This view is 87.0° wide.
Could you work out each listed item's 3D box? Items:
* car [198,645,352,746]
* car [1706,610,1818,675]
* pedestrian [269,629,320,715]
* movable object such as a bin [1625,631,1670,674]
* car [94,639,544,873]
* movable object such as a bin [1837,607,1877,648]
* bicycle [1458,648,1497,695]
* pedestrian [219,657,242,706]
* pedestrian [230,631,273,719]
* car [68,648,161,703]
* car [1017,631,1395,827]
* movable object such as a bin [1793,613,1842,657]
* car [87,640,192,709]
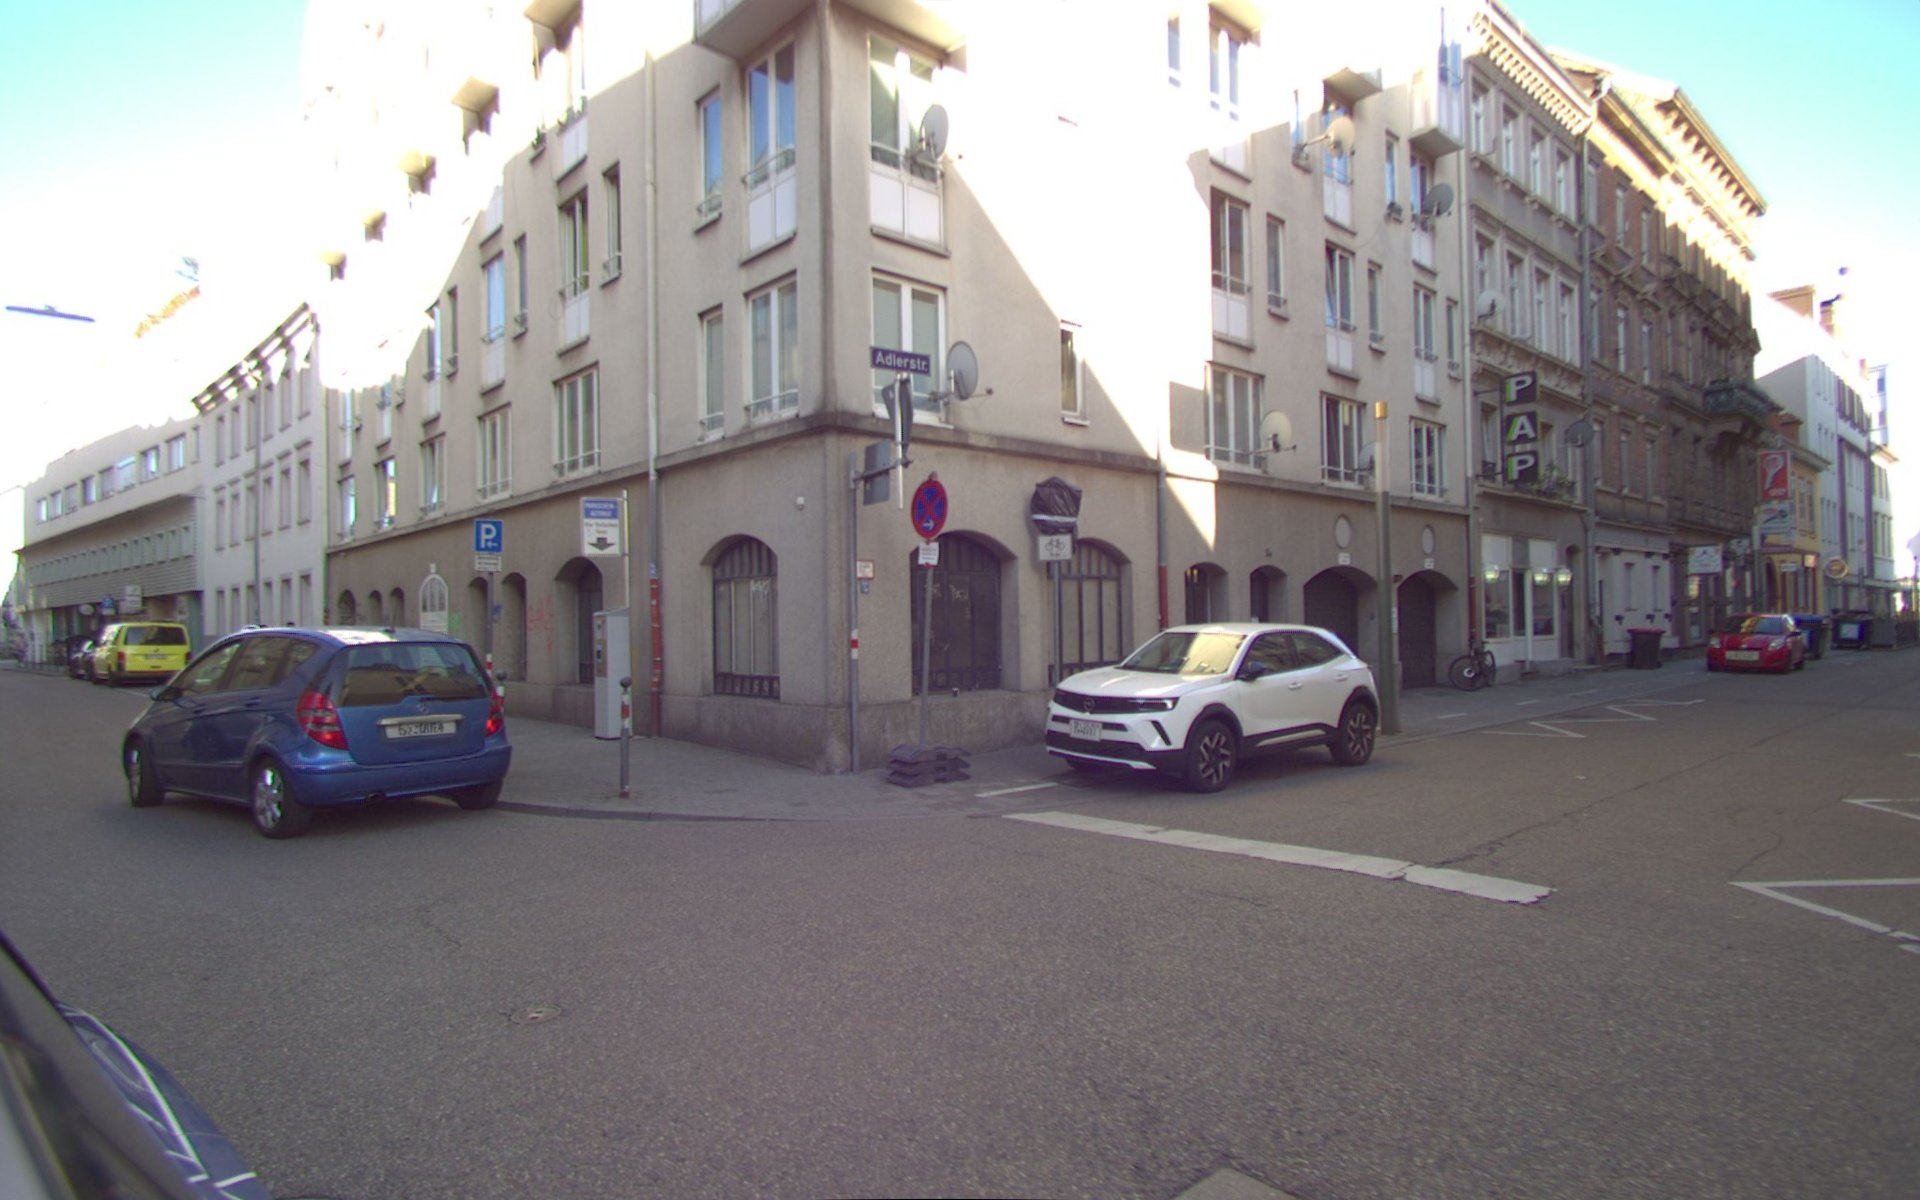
[{"bbox_3d":[-13.299,1.756,19.570,1.861,1.717,4.004,2,-4,-43],"label":"car"},{"bbox_3d":[20.929,1.054,26.373,3.941,1.537,1.795,0,-1,-45],"label":"car"},{"bbox_3d":[-16.268,1.744,24.735,0.699,2.029,0.924,-3,-3,44],"label":"pedestrian"},{"bbox_3d":[18.132,1.377,26.705,0.838,1.056,0.744,-3,0,44],"label":"movable object such as a bin"},{"bbox_3d":[-5.614,1.223,8.789,3.793,1.605,1.837,-4,-4,32],"label":"car"},{"bbox_3d":[34.769,1.058,39.223,0.895,1.555,1.084,0,-1,-44],"label":"movable object such as a bin"},{"bbox_3d":[10.392,1.422,20.317,1.048,0.864,0.219,-3,0,-37],"label":"bicycle"},{"bbox_3d":[-22.397,2.500,31.073,0.547,1.459,0.584,0,-3,-35],"label":"pedestrian"},{"bbox_3d":[-16.826,1.772,24.034,0.699,2.029,0.705,-3,-3,44],"label":"pedestrian"},{"bbox_3d":[-29.296,2.573,35.038,3.999,1.781,1.863,-3,-5,42],"label":"car"},{"bbox_3d":[2.645,1.157,10.520,3.905,1.605,1.747,0,-2,-38],"label":"car"},{"bbox_3d":[27.305,1.108,32.232,0.895,1.359,1.084,0,-1,-44],"label":"movable object such as a bin"},{"bbox_3d":[-25.094,2.230,30.914,3.999,1.888,1.863,-3,-1,42],"label":"car"}]
